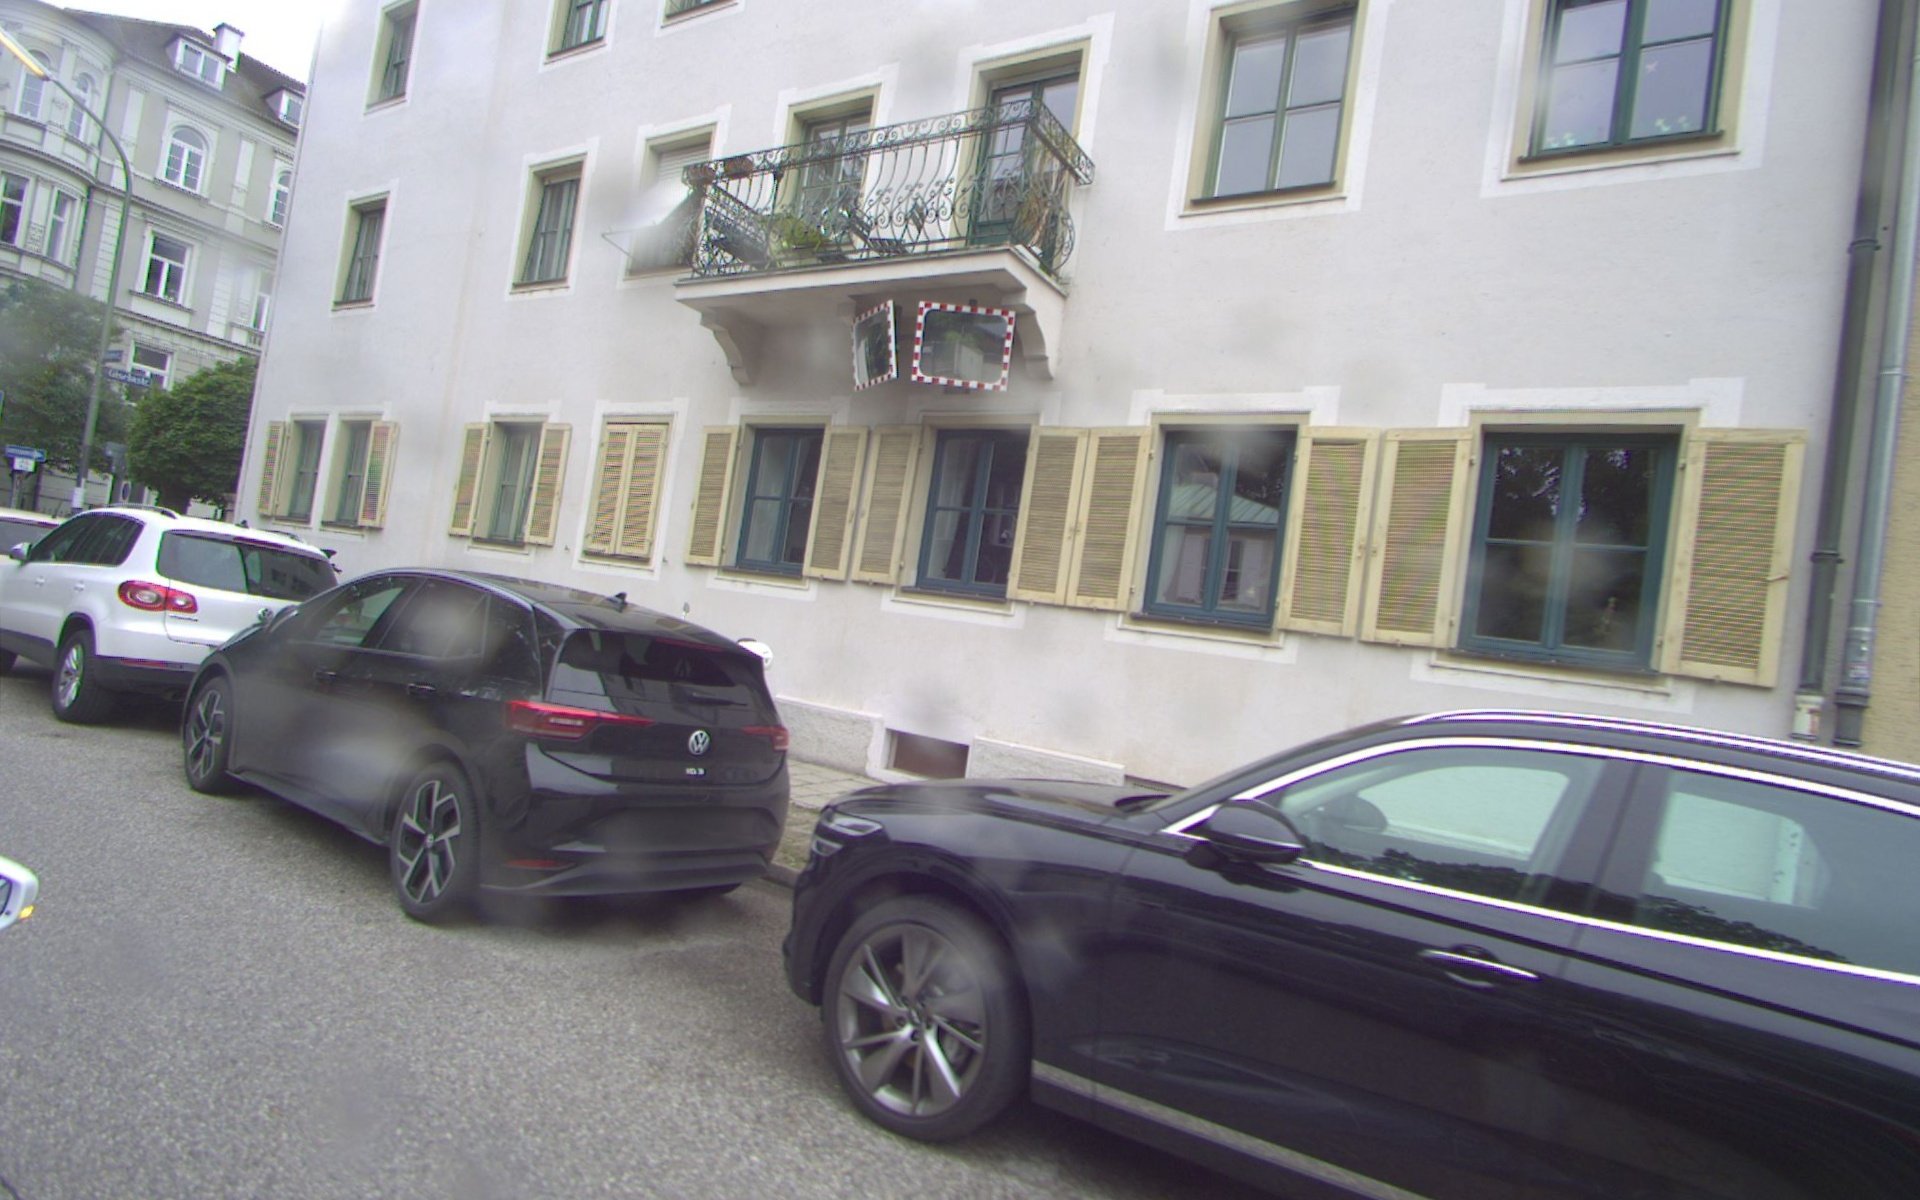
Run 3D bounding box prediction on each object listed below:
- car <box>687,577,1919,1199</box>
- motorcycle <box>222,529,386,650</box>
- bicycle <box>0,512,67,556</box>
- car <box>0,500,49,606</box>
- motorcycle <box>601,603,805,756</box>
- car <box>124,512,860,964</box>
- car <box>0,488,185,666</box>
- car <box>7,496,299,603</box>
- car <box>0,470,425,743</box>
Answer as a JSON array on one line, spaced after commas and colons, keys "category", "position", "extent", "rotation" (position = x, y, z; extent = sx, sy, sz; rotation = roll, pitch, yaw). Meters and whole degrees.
[{"category": "car", "position": [1.643, 1.064, 3.173], "extent": [4.817, 1.595, 1.864], "rotation": [7, -2, 31]}, {"category": "motorcycle", "position": [-9.878, -0.178, 15.111], "extent": [2.662, 1.449, 0.859], "rotation": [7, -2, 32]}, {"category": "bicycle", "position": [-27.587, -1.975, 29.506], "extent": [0.548, 1.039, 1.924], "rotation": [8, -2, 38]}, {"category": "car", "position": [-14.885, -0.899, 14.105], "extent": [4.520, 1.335, 2.002], "rotation": [7, 0, 33]}, {"category": "motorcycle", "position": [-2.680, 0.804, 10.417], "extent": [1.974, 1.252, 0.734], "rotation": [7, -4, 32]}, {"category": "car", "position": [-2.922, 0.532, 5.918], "extent": [4.345, 1.549, 1.841], "rotation": [7, -2, 35]}, {"category": "car", "position": [-10.825, -0.385, 11.595], "extent": [3.653, 1.559, 1.777], "rotation": [7, -7, 36]}, {"category": "car", "position": [-18.795, -1.108, 23.717], "extent": [1.881, 1.549, 4.916], "rotation": [10, -1, 33]}, {"category": "car", "position": [-7.101, -0.021, 9.006], "extent": [4.461, 1.724, 2.000], "rotation": [7, -5, 34]}]
